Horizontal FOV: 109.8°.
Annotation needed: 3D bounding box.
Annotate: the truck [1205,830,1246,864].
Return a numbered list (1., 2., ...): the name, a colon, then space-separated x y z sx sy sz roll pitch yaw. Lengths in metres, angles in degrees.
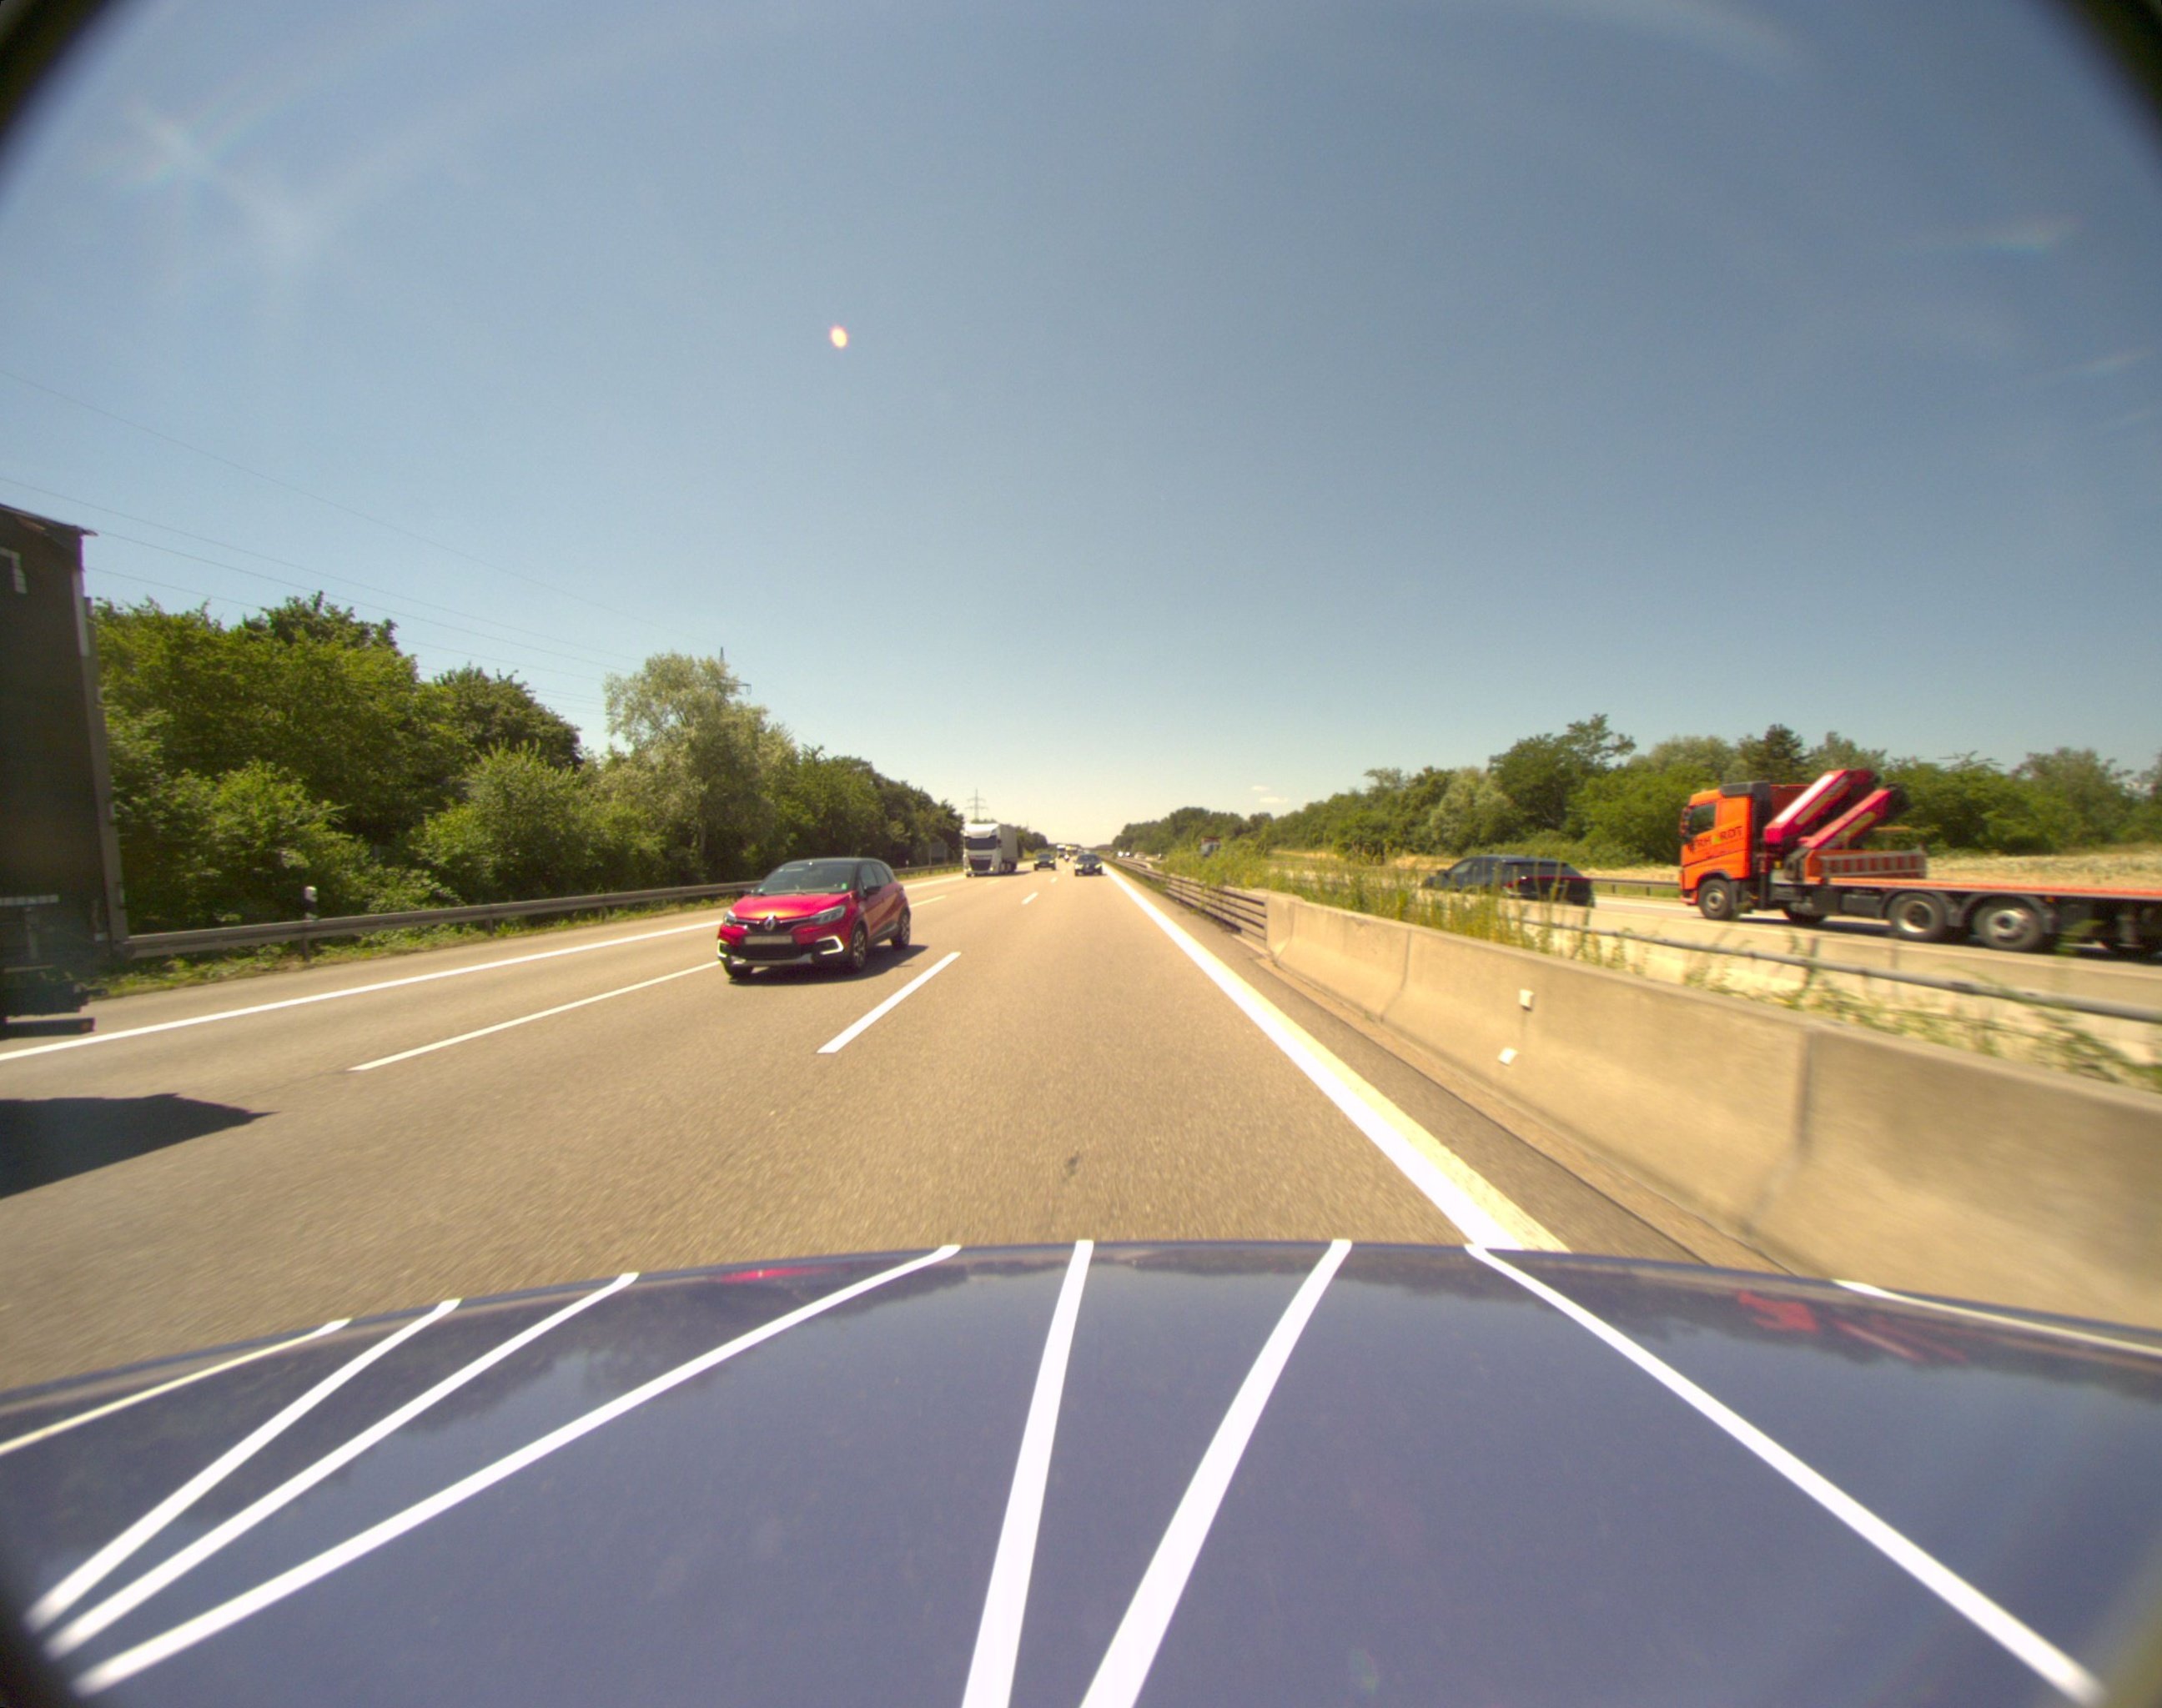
1. truck: 18.416 -0.882 97.894 2.767 3.991 13.521 1 0 0

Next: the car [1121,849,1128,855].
1. car: 12.439 -0.590 215.926 1.813 1.527 3.961 0 0 0

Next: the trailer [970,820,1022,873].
1. trailer: -7.134 -0.628 65.804 2.743 4.083 13.121 -2 0 1

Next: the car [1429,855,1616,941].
1. car: 9.166 0.827 16.175 1.771 1.570 3.818 0 0 1

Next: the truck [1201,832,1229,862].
1. truck: 18.451 -0.928 105.184 2.767 3.991 5.750 1 1 0

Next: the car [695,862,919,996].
1. car: -3.811 0.946 11.376 1.808 1.536 4.000 -2 0 1

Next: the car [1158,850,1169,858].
1. car: 16.610 -0.003 152.752 1.737 1.443 3.677 1 0 1

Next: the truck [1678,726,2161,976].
1. truck: 17.160 -0.047 15.054 2.659 3.640 10.188 1 0 1

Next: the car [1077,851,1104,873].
1. car: 0.673 0.553 54.795 1.808 1.385 3.999 -2 1 0

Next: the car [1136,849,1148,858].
1. car: 10.793 -0.095 134.642 1.808 1.559 4.095 1 0 1

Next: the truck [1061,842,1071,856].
1. truck: -4.496 -1.454 226.249 2.573 3.871 5.722 -2 1 0

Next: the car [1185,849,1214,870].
1. car: 9.797 0.446 62.959 1.804 1.644 4.124 1 0 1

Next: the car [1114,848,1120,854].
1. car: 12.411 -1.062 259.391 1.964 1.761 4.442 0 0 1

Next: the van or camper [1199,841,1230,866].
1. van or camper: 13.917 -0.082 79.518 2.176 2.573 5.872 1 1 0

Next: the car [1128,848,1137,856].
1. car: 11.701 -0.458 173.942 1.813 1.638 3.961 0 0 0

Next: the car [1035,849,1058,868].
1. car: -3.206 0.389 71.159 1.878 1.614 4.004 -2 0 0

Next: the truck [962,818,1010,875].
1. truck: -7.217 -0.581 58.733 2.743 4.096 6.124 -2 1 1
